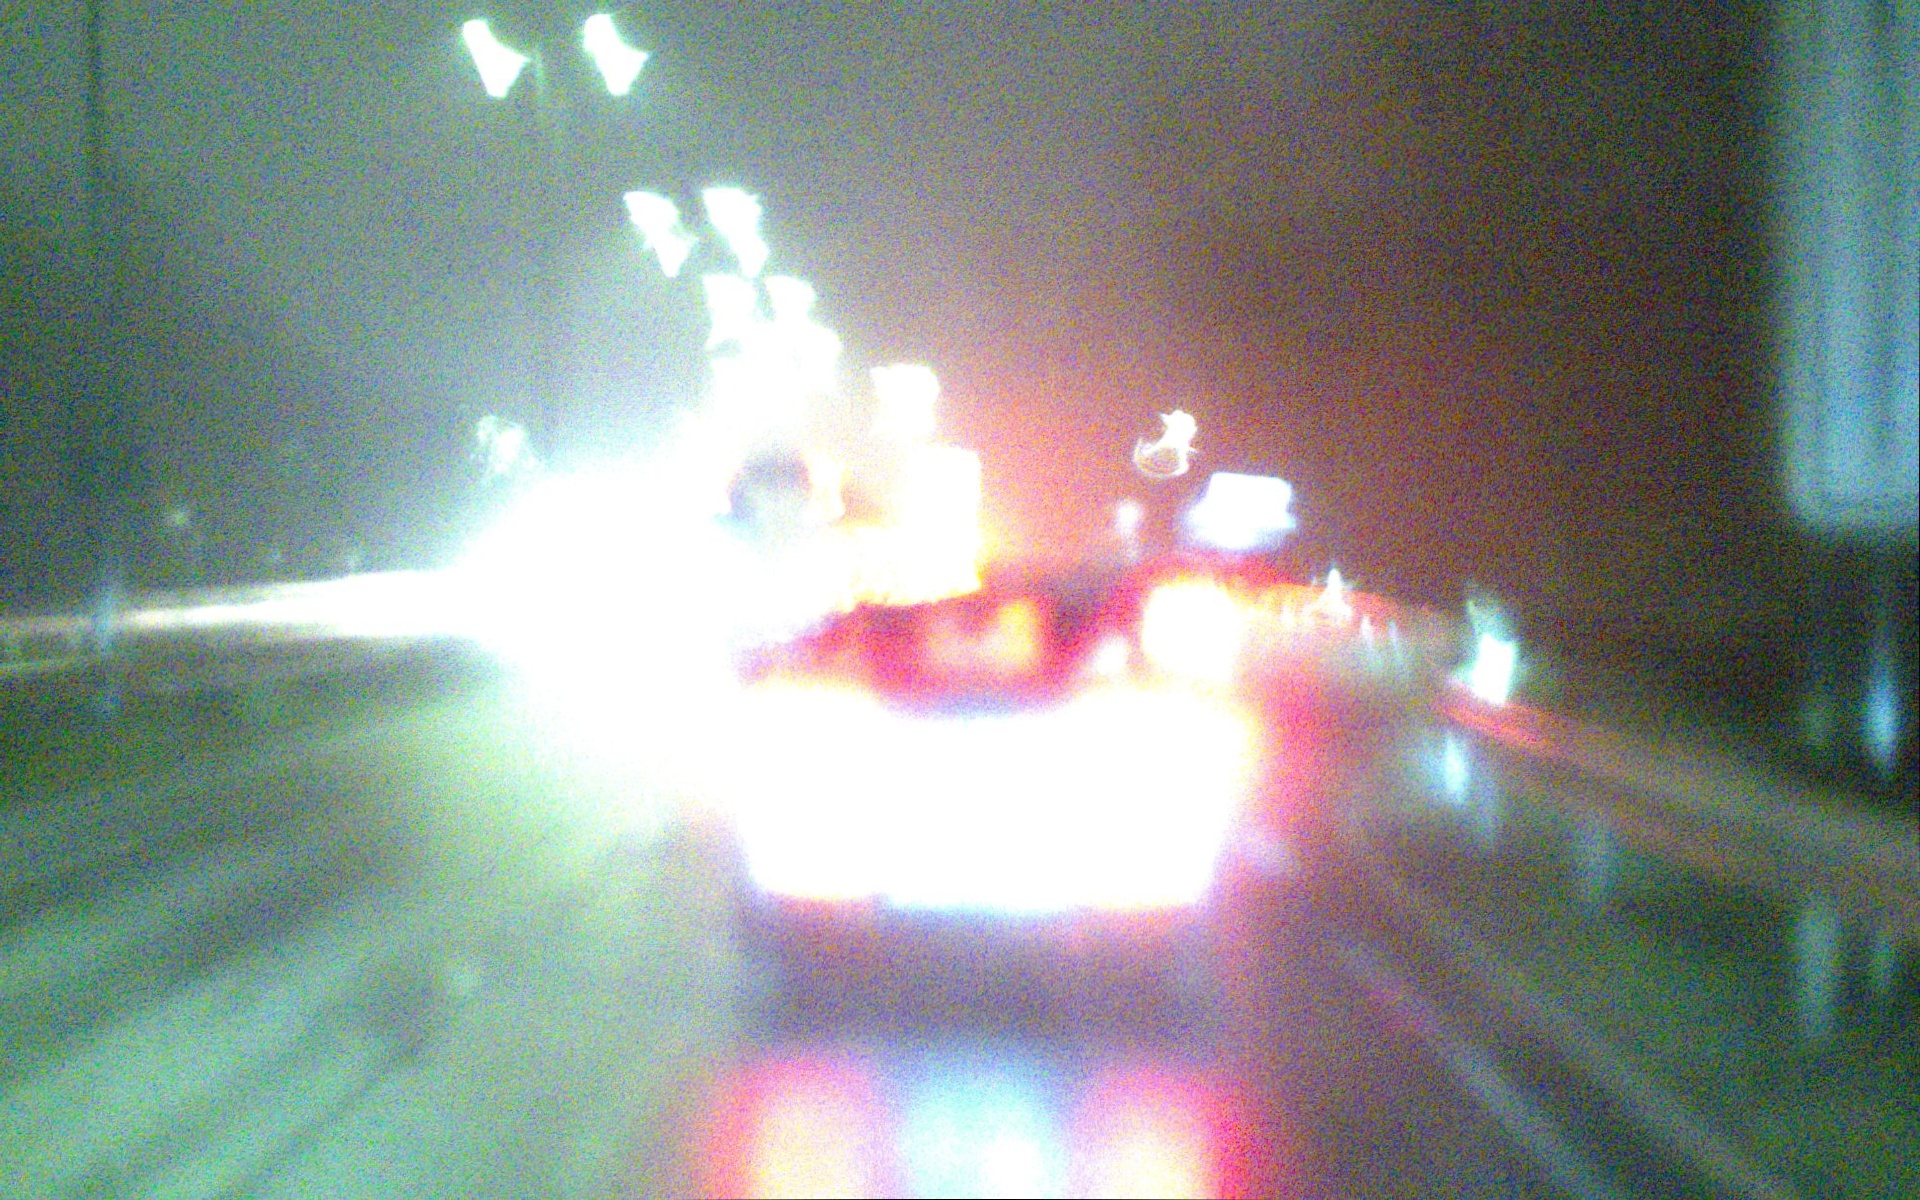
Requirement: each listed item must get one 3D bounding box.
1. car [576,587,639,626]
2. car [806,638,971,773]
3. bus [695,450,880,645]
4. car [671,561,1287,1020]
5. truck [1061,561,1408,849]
[{"bbox_3d":[-14.283,0.270,139.485,2.023,1.497,4.896,2,-1,0],"label":"car"},{"bbox_3d":[-0.810,1.218,40.926,1.822,1.456,3.716,1,0,1],"label":"car"},{"bbox_3d":[-2.926,-0.929,60.868,2.743,3.113,9.201,2,1,0],"label":"bus"},{"bbox_3d":[0.226,0.620,13.234,1.945,1.486,3.715,1,0,7],"label":"car"},{"bbox_3d":[2.819,0.999,34.900,3.070,2.520,7.164,2,-1,5],"label":"truck"}]
